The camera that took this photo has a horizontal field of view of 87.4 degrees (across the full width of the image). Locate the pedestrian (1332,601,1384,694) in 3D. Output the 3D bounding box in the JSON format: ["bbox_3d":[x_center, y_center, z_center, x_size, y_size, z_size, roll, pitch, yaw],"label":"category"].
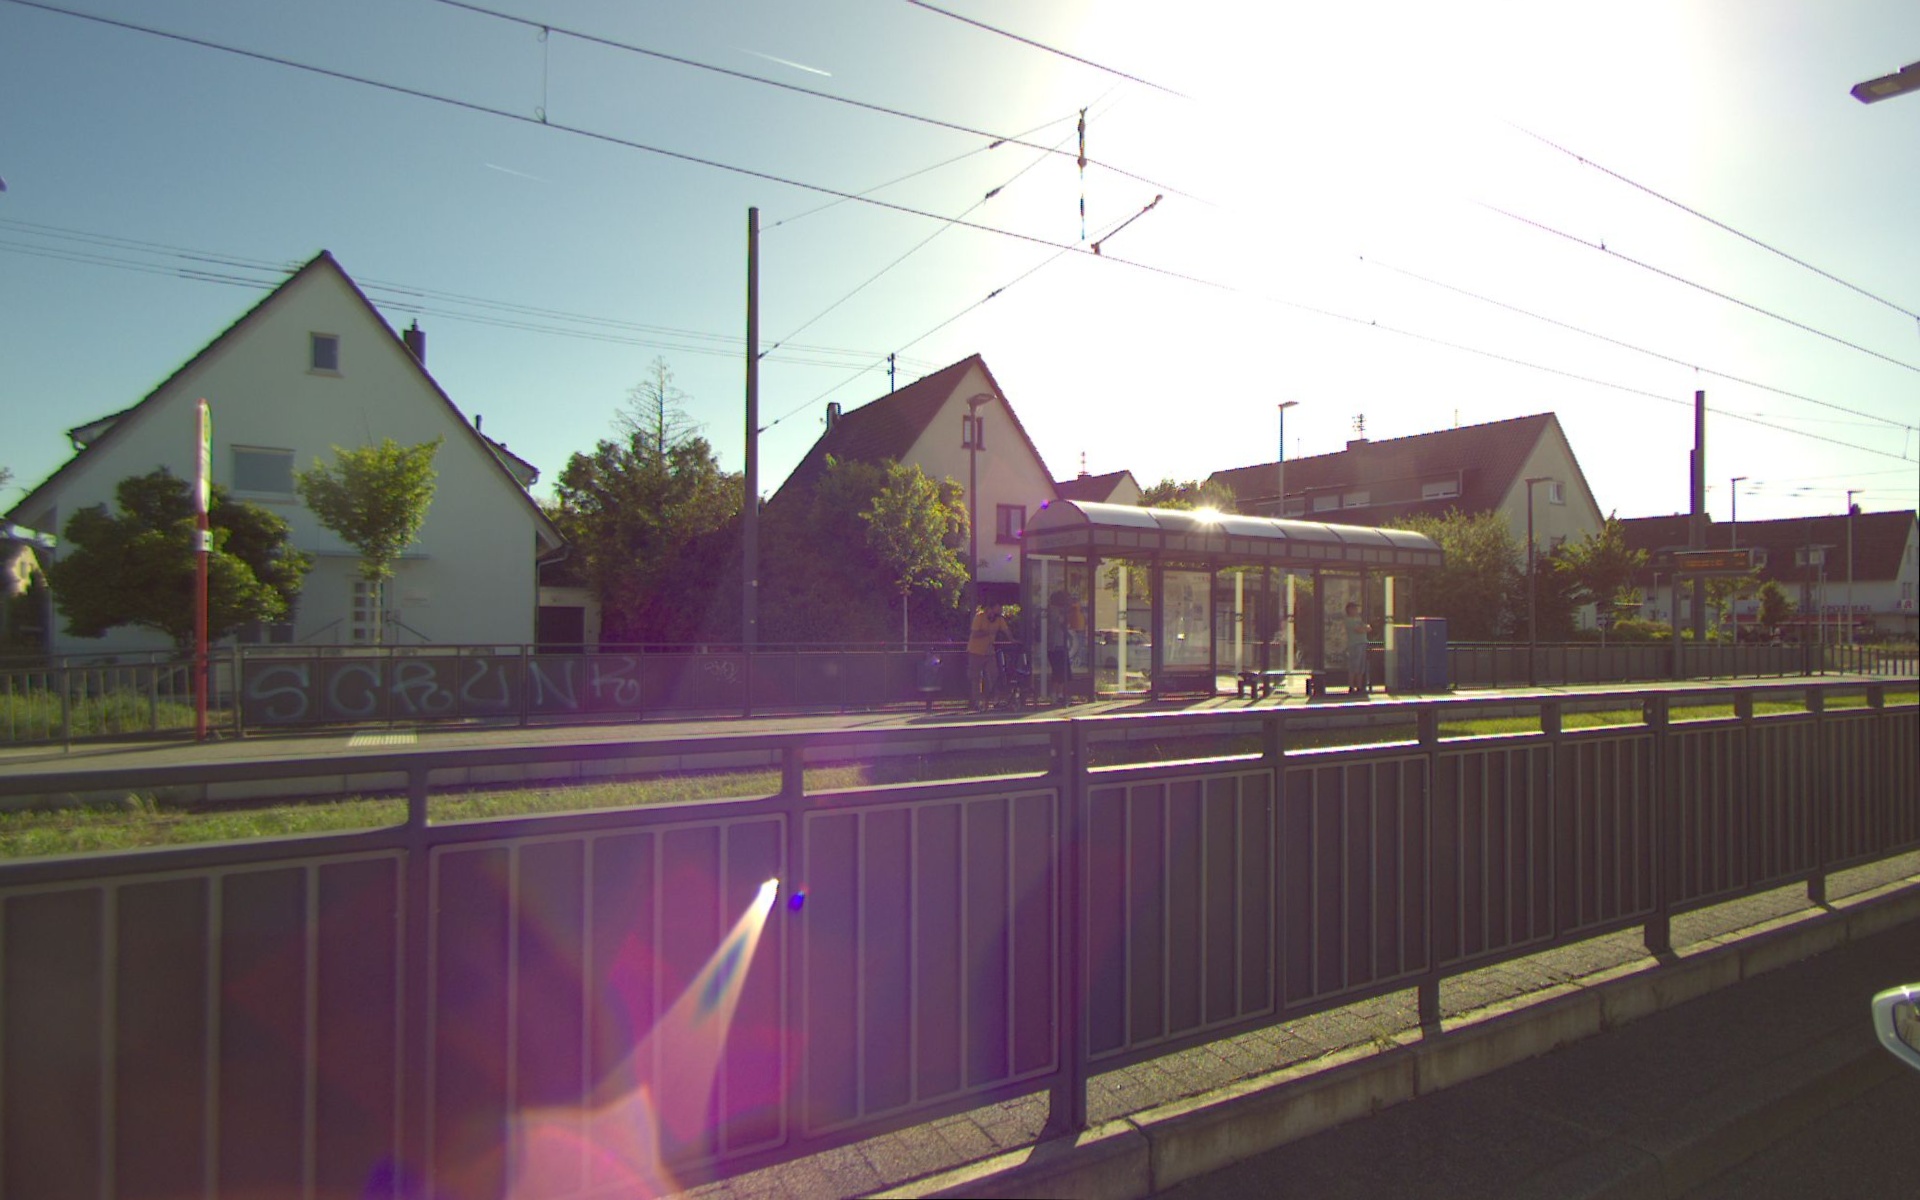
[{"bbox_3d":[7.562,0.902,19.079,0.762,1.718,0.498,1,-3,-29],"label":"pedestrian"}]

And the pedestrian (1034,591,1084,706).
[{"bbox_3d":[1.519,0.739,15.456,0.575,1.731,0.516,1,-1,-34],"label":"pedestrian"}]

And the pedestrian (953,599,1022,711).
[{"bbox_3d":[0.396,0.777,14.406,0.741,1.556,0.671,1,-1,-34],"label":"pedestrian"}]

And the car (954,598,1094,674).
[{"bbox_3d":[1.776,0.987,29.007,1.915,1.996,3.958,2,0,-37],"label":"car"}]

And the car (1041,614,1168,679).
[{"bbox_3d":[4.499,1.423,31.782,1.783,1.830,3.816,2,0,-37],"label":"car"}]

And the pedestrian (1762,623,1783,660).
[{"bbox_3d":[38.939,2.006,48.155,0.682,1.755,0.590,1,-1,-32],"label":"pedestrian"}]

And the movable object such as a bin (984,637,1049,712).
[{"bbox_3d":[0.787,1.023,14.012,0.734,1.001,0.543,1,-1,-34],"label":"movable object such as a bin"}]

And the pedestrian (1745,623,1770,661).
[{"bbox_3d":[37.875,1.986,47.717,0.763,1.785,0.725,1,-1,-32],"label":"pedestrian"}]
